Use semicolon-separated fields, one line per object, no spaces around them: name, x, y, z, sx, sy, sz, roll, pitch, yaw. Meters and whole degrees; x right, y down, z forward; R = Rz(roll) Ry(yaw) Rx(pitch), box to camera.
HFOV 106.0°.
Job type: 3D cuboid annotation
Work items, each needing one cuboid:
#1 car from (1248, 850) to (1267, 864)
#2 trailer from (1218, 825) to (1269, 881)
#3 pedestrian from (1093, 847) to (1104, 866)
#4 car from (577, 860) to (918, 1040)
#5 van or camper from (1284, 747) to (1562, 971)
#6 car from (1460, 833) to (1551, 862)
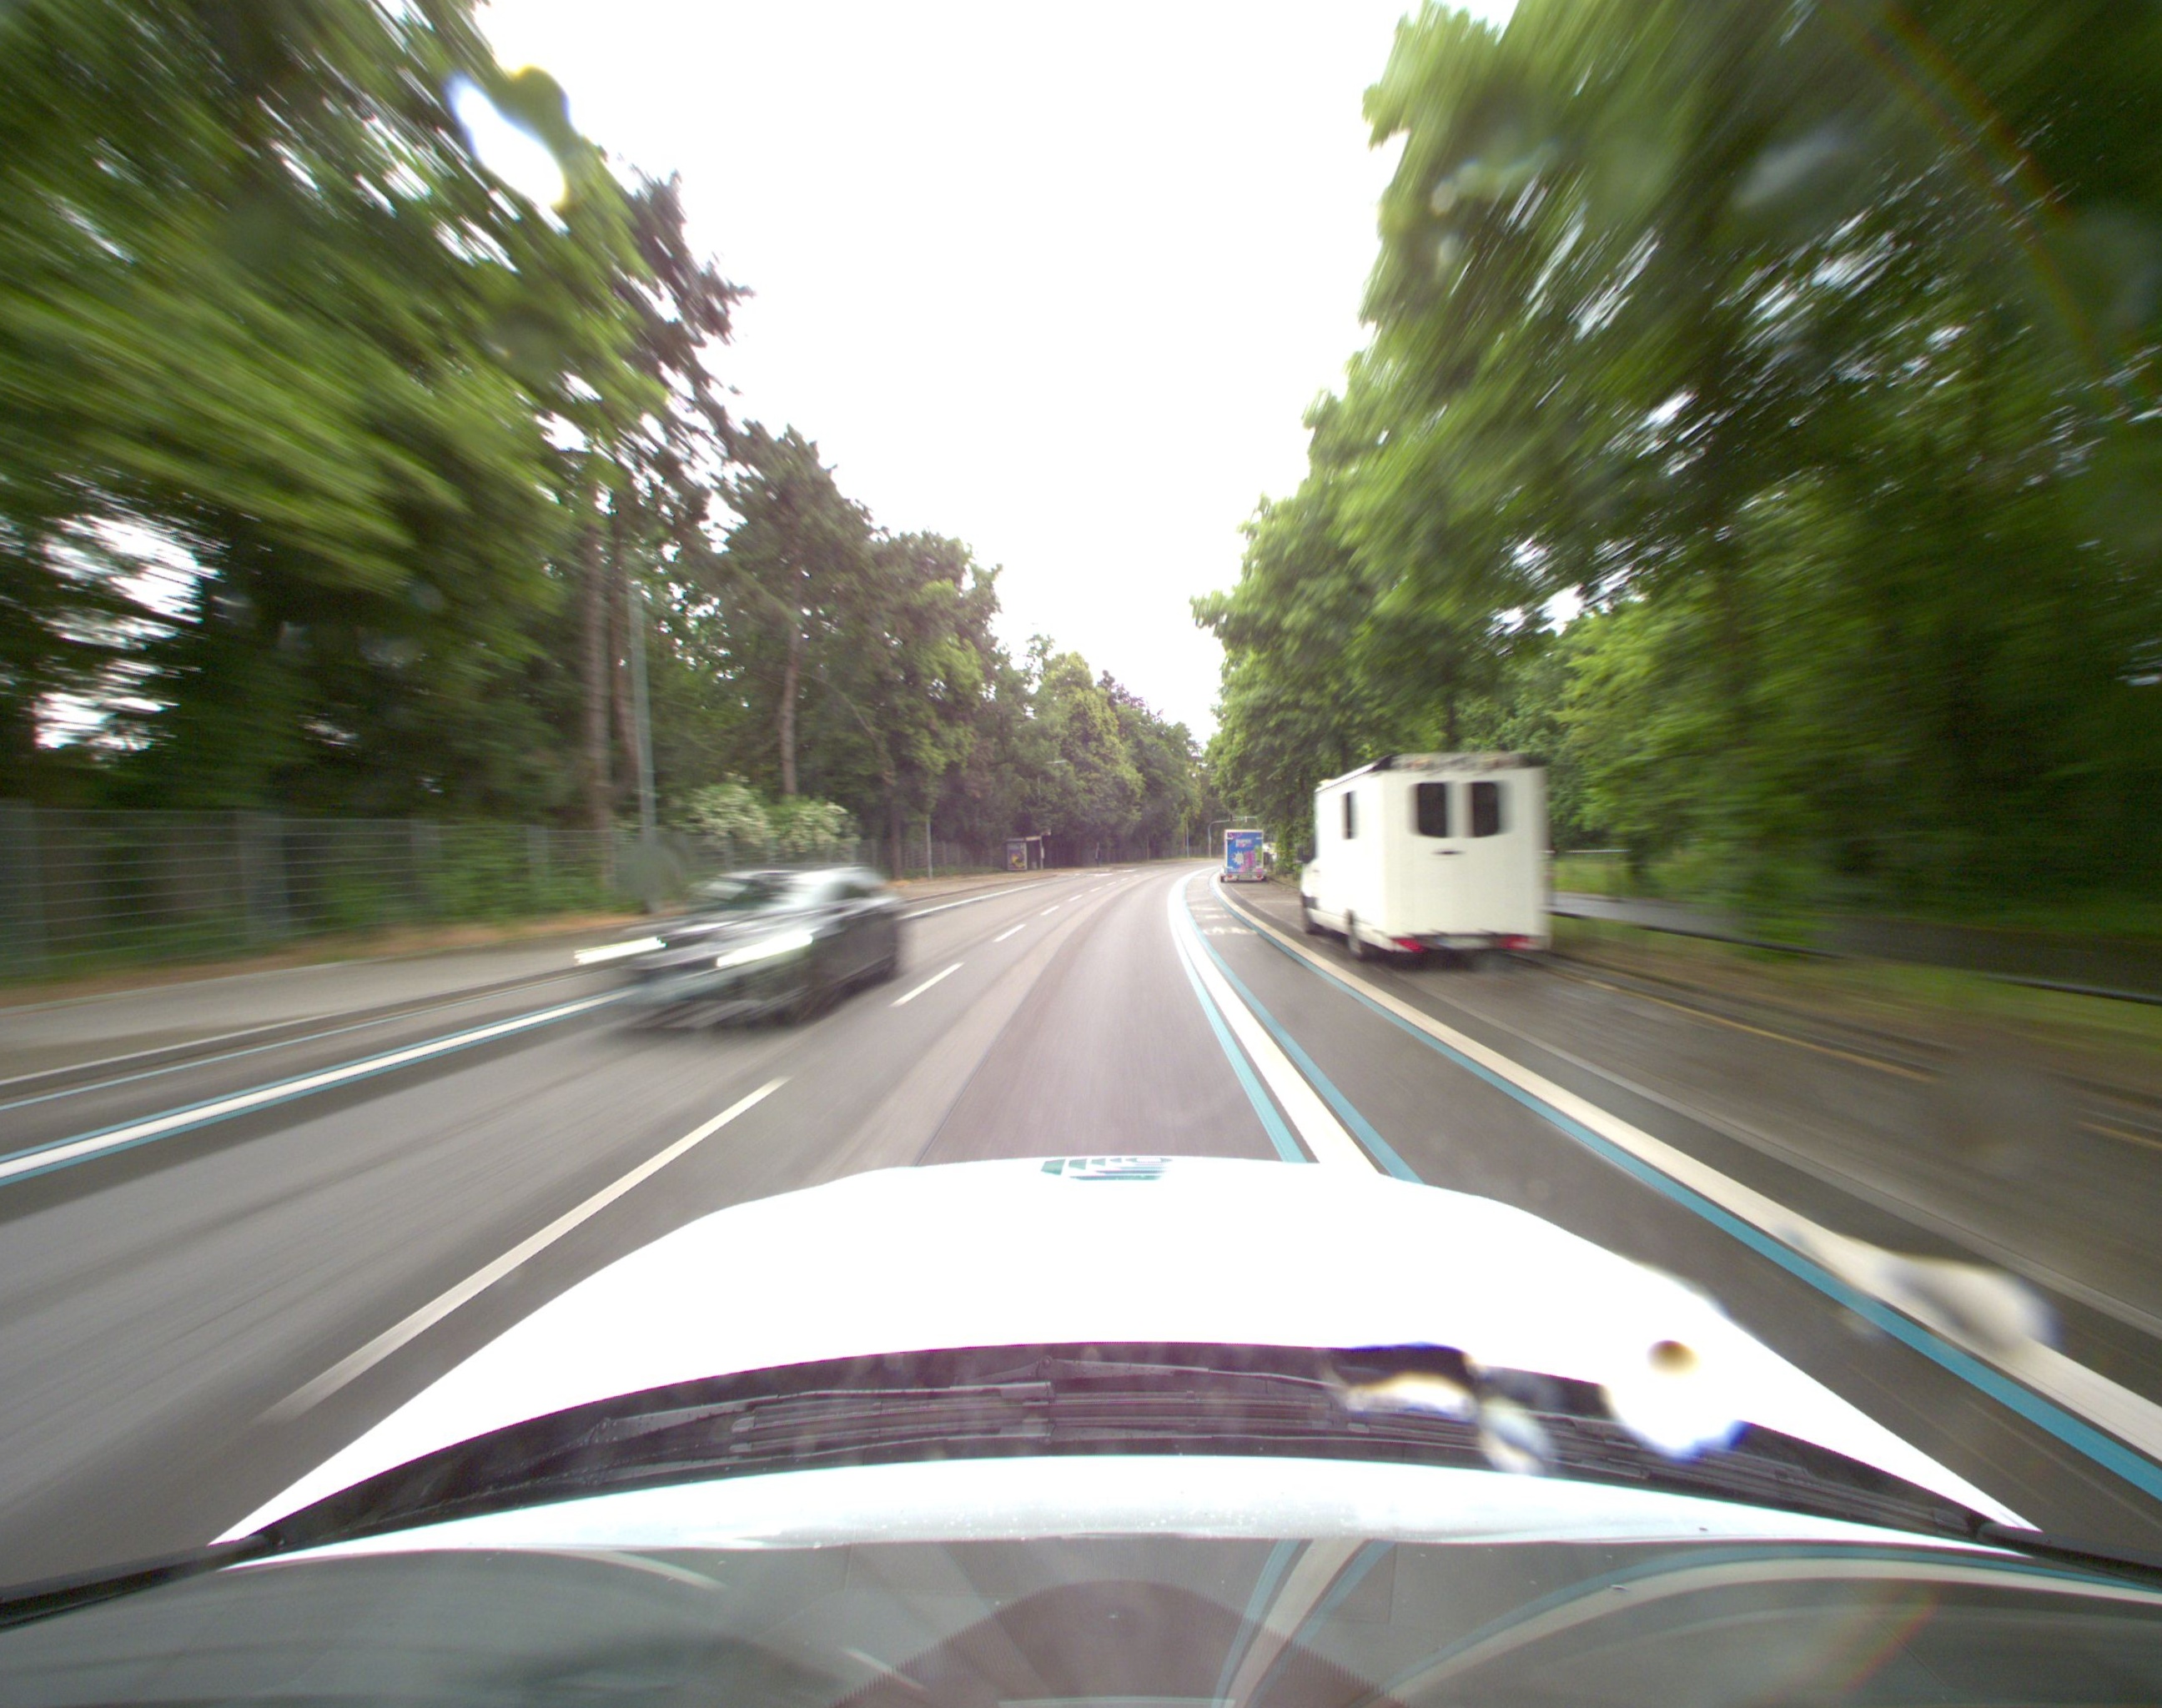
car;18.884;0.322;87.156;1.686;1.420;4.783;1;0;15
trailer;8.263;-0.066;41.890;2.303;2.672;5.389;-1;0;8
pedestrian;1.619;0.216;75.417;0.882;1.733;1.149;-1;0;9
car;-3.225;0.824;8.911;1.752;1.437;4.155;-1;0;4
van or camper;4.889;0.054;12.985;2.305;2.664;6.392;-1;0;6
car;23.145;-0.345;44.563;4.102;1.322;1.900;-3;-1;20
